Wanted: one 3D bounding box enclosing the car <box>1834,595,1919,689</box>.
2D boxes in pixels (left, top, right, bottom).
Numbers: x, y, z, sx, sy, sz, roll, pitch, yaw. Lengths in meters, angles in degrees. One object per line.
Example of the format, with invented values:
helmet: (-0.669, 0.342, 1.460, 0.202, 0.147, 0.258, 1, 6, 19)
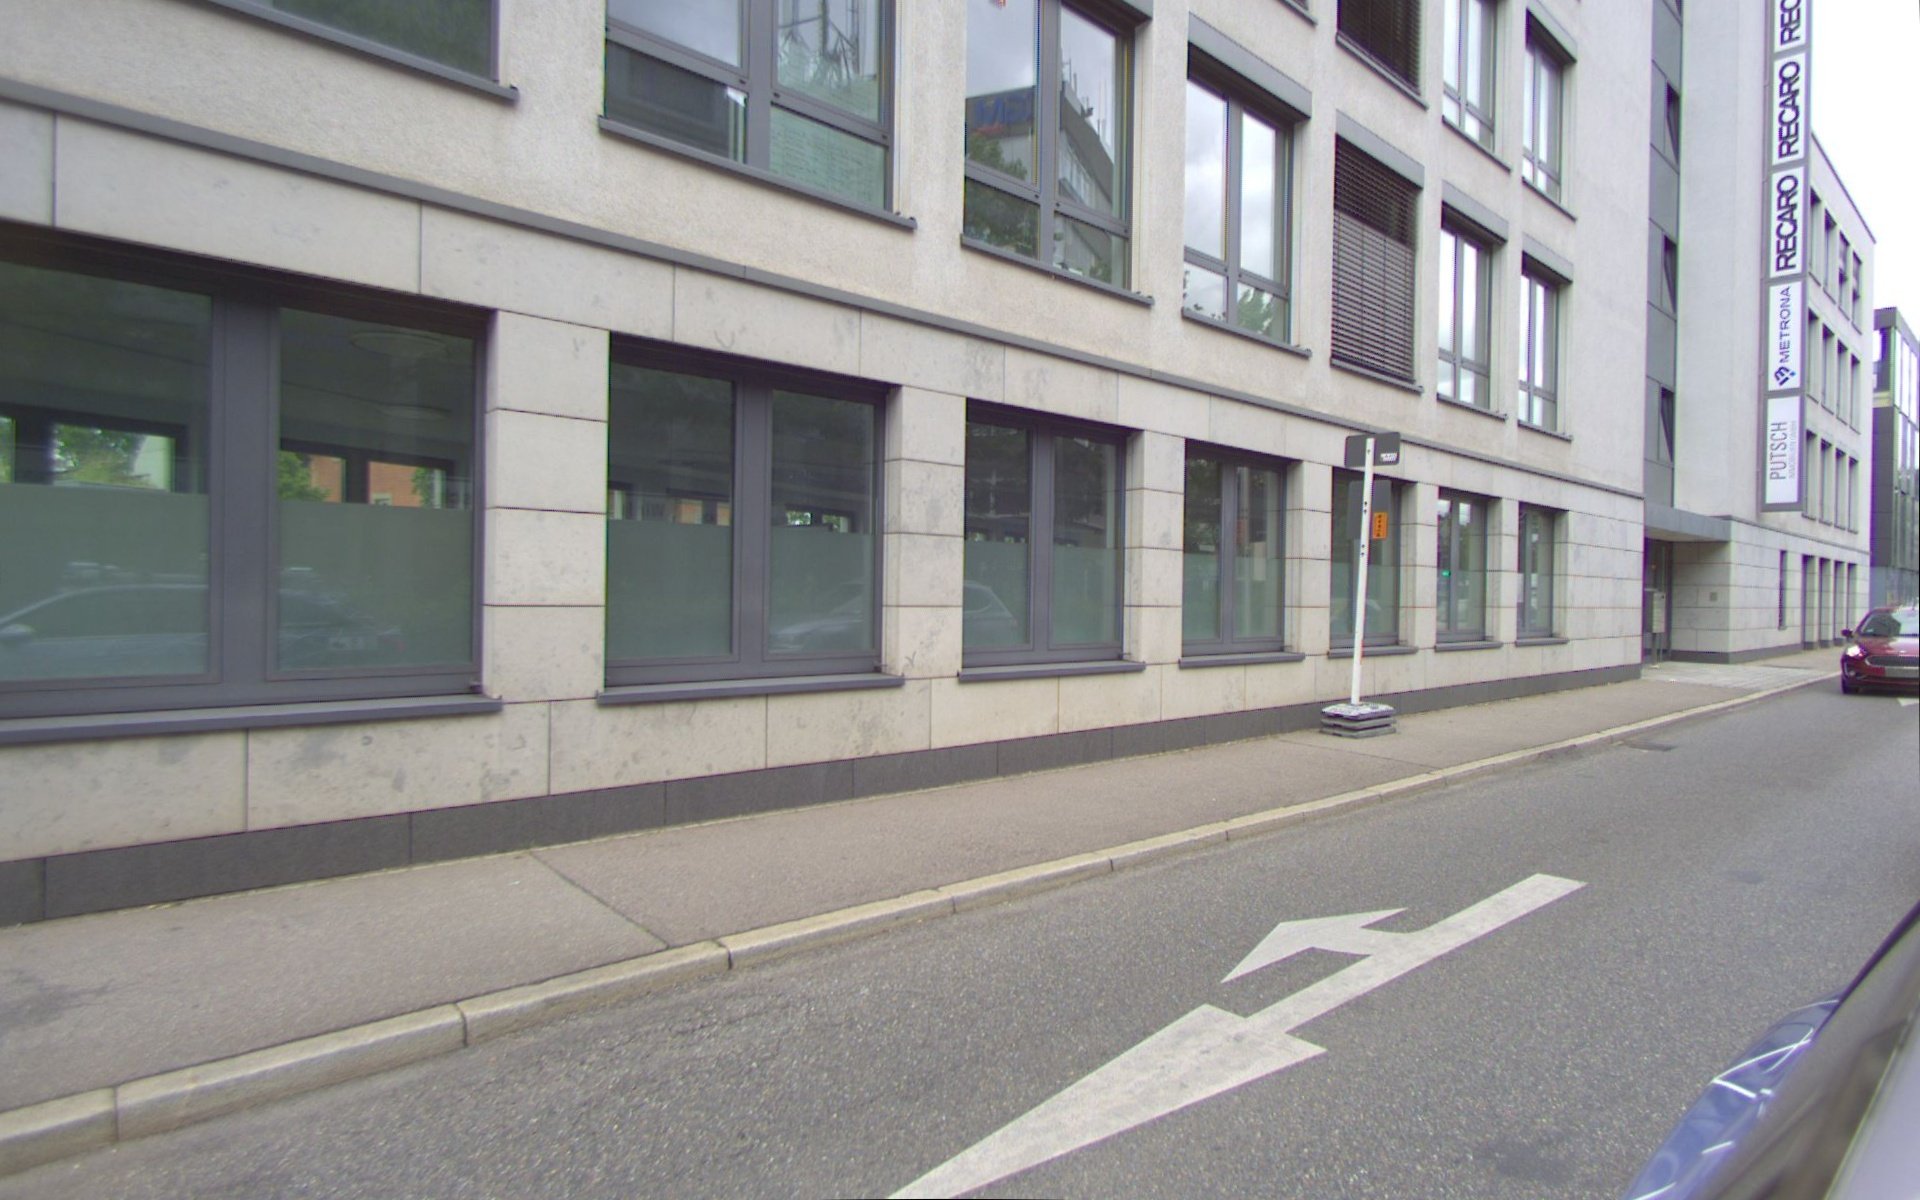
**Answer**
car: (16.863, 0.683, 17.644, 3.930, 1.512, 1.888, 0, -2, -41)
